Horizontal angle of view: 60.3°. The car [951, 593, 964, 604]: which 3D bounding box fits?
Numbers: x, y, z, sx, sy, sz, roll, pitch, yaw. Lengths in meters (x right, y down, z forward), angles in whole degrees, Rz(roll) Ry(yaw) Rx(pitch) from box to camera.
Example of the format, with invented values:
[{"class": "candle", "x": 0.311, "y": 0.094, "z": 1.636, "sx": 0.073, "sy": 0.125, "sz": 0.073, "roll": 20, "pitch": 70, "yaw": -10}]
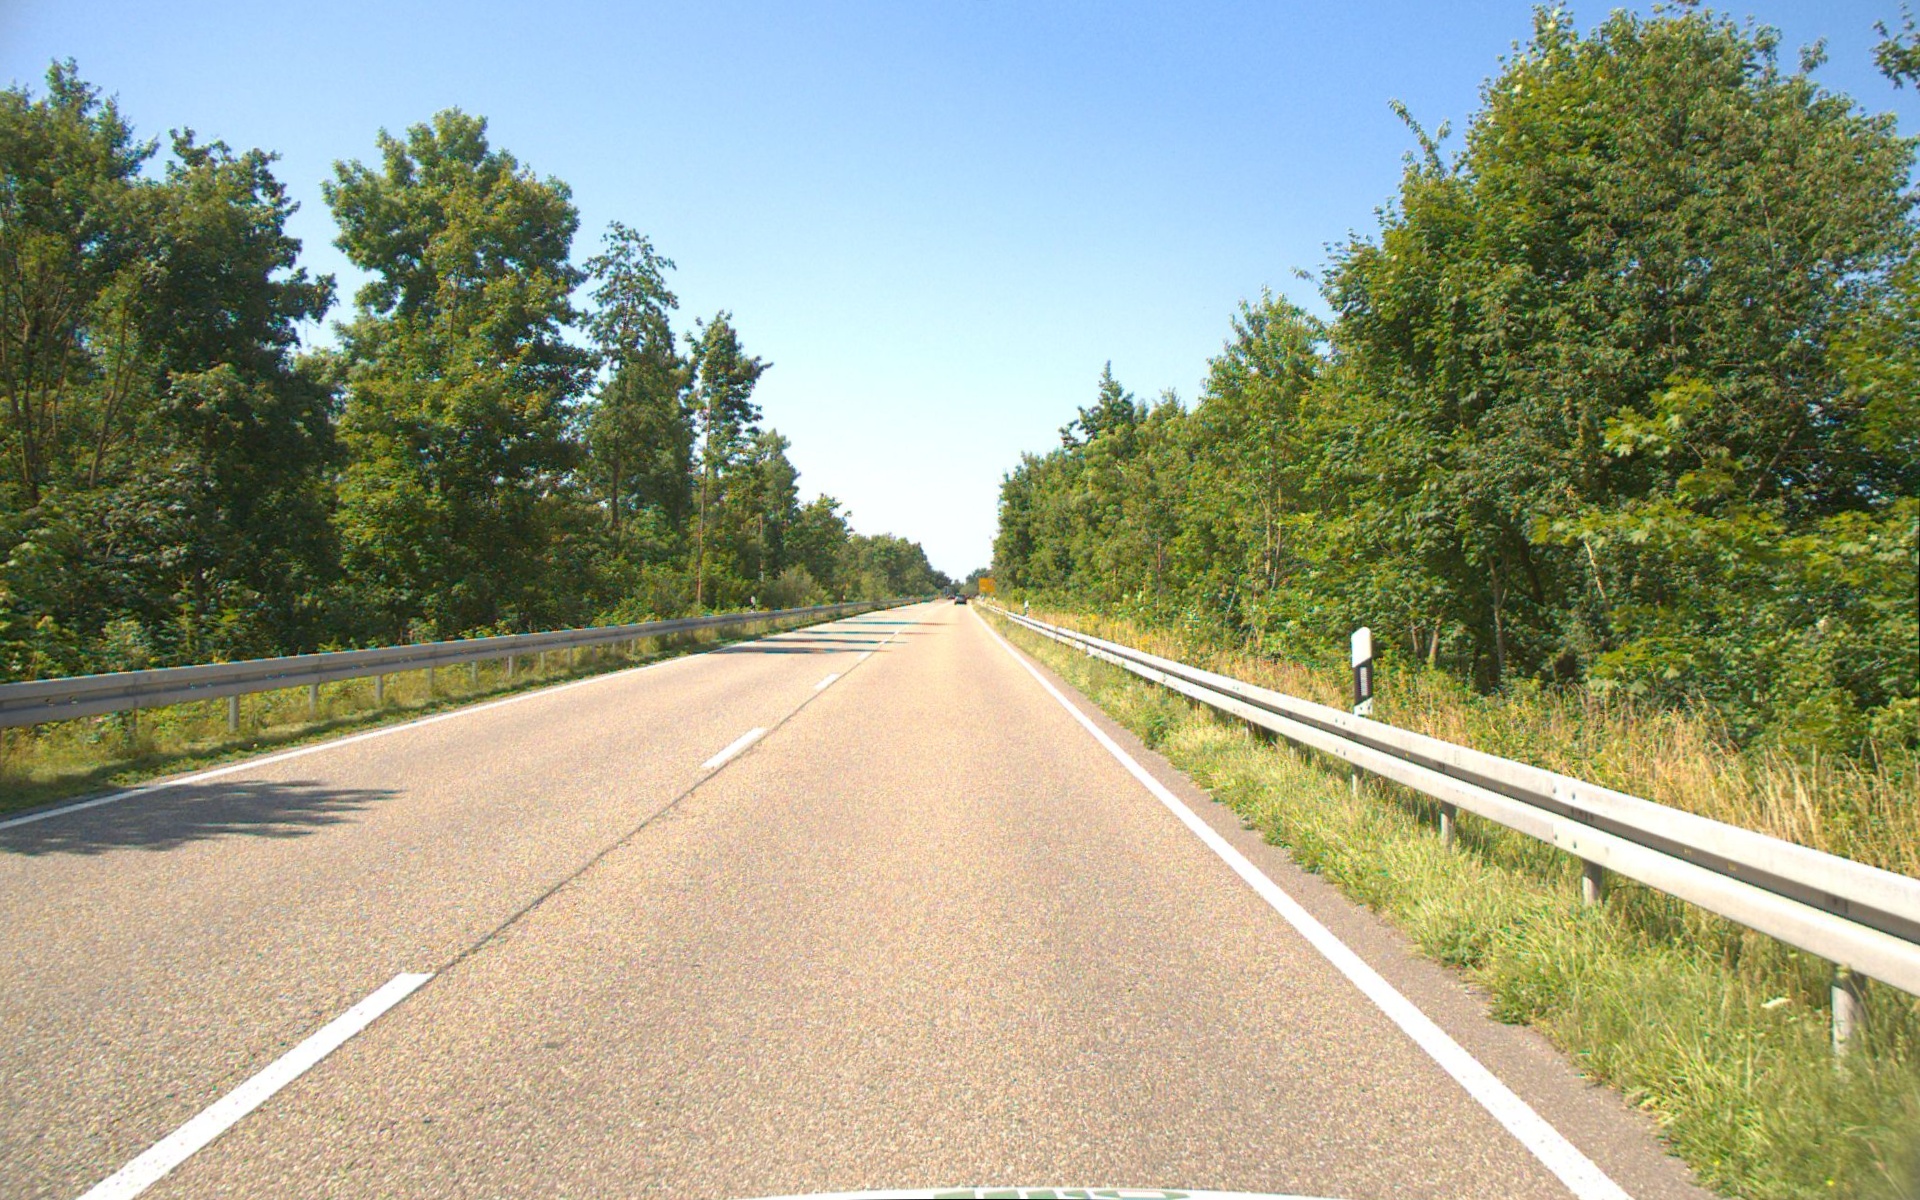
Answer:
[{"class": "car", "x": -0.386, "y": -0.146, "z": 231.193, "sx": 1.705, "sy": 1.496, "sz": 3.693, "roll": 1, "pitch": 0, "yaw": 1}]
